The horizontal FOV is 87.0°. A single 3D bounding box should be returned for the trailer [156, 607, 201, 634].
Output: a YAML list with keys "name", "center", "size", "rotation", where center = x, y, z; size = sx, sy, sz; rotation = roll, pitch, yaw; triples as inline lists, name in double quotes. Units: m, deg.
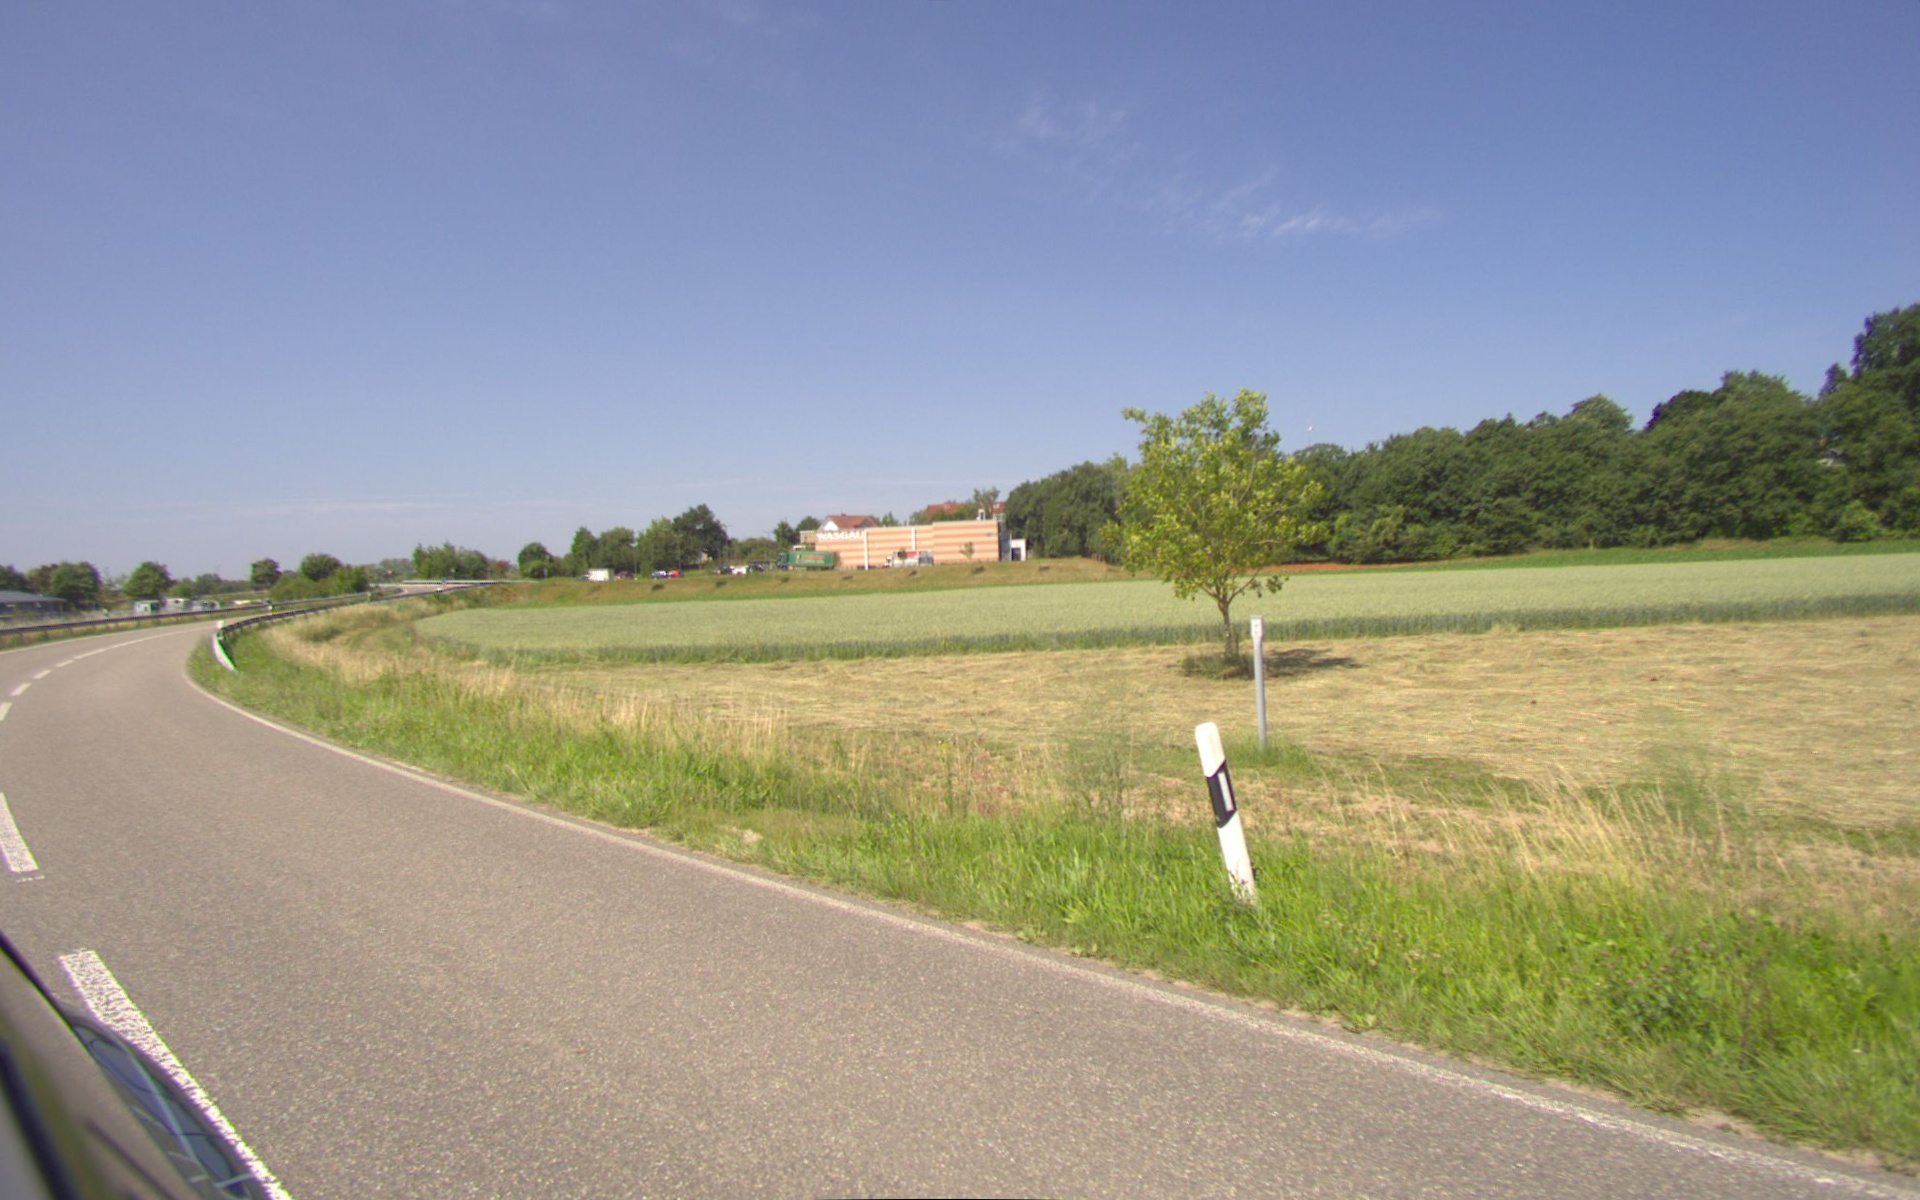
- name: "trailer"
  center: [-89.193, 2.300, 115.520]
  size: [5.023, 2.886, 2.213]
  rotation: [-2, 1, 29]

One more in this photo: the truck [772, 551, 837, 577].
- name: "truck"
  center: [-24.955, -5.767, 162.248]
  size: [9.832, 3.502, 2.871]
  rotation: [-2, 4, 10]

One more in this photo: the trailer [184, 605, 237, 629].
- name: "trailer"
  center: [-94.605, 2.161, 127.837]
  size: [5.122, 2.708, 2.206]
  rotation: [-3, 1, 4]

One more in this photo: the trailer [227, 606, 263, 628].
- name: "trailer"
  center: [-100.653, 2.423, 142.497]
  size: [3.374, 2.825, 2.164]
  rotation: [-3, 2, 2]

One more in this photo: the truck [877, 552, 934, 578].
- name: "truck"
  center: [-8.770, -5.699, 163.913]
  size: [8.774, 3.589, 2.874]
  rotation: [-3, 3, 7]
